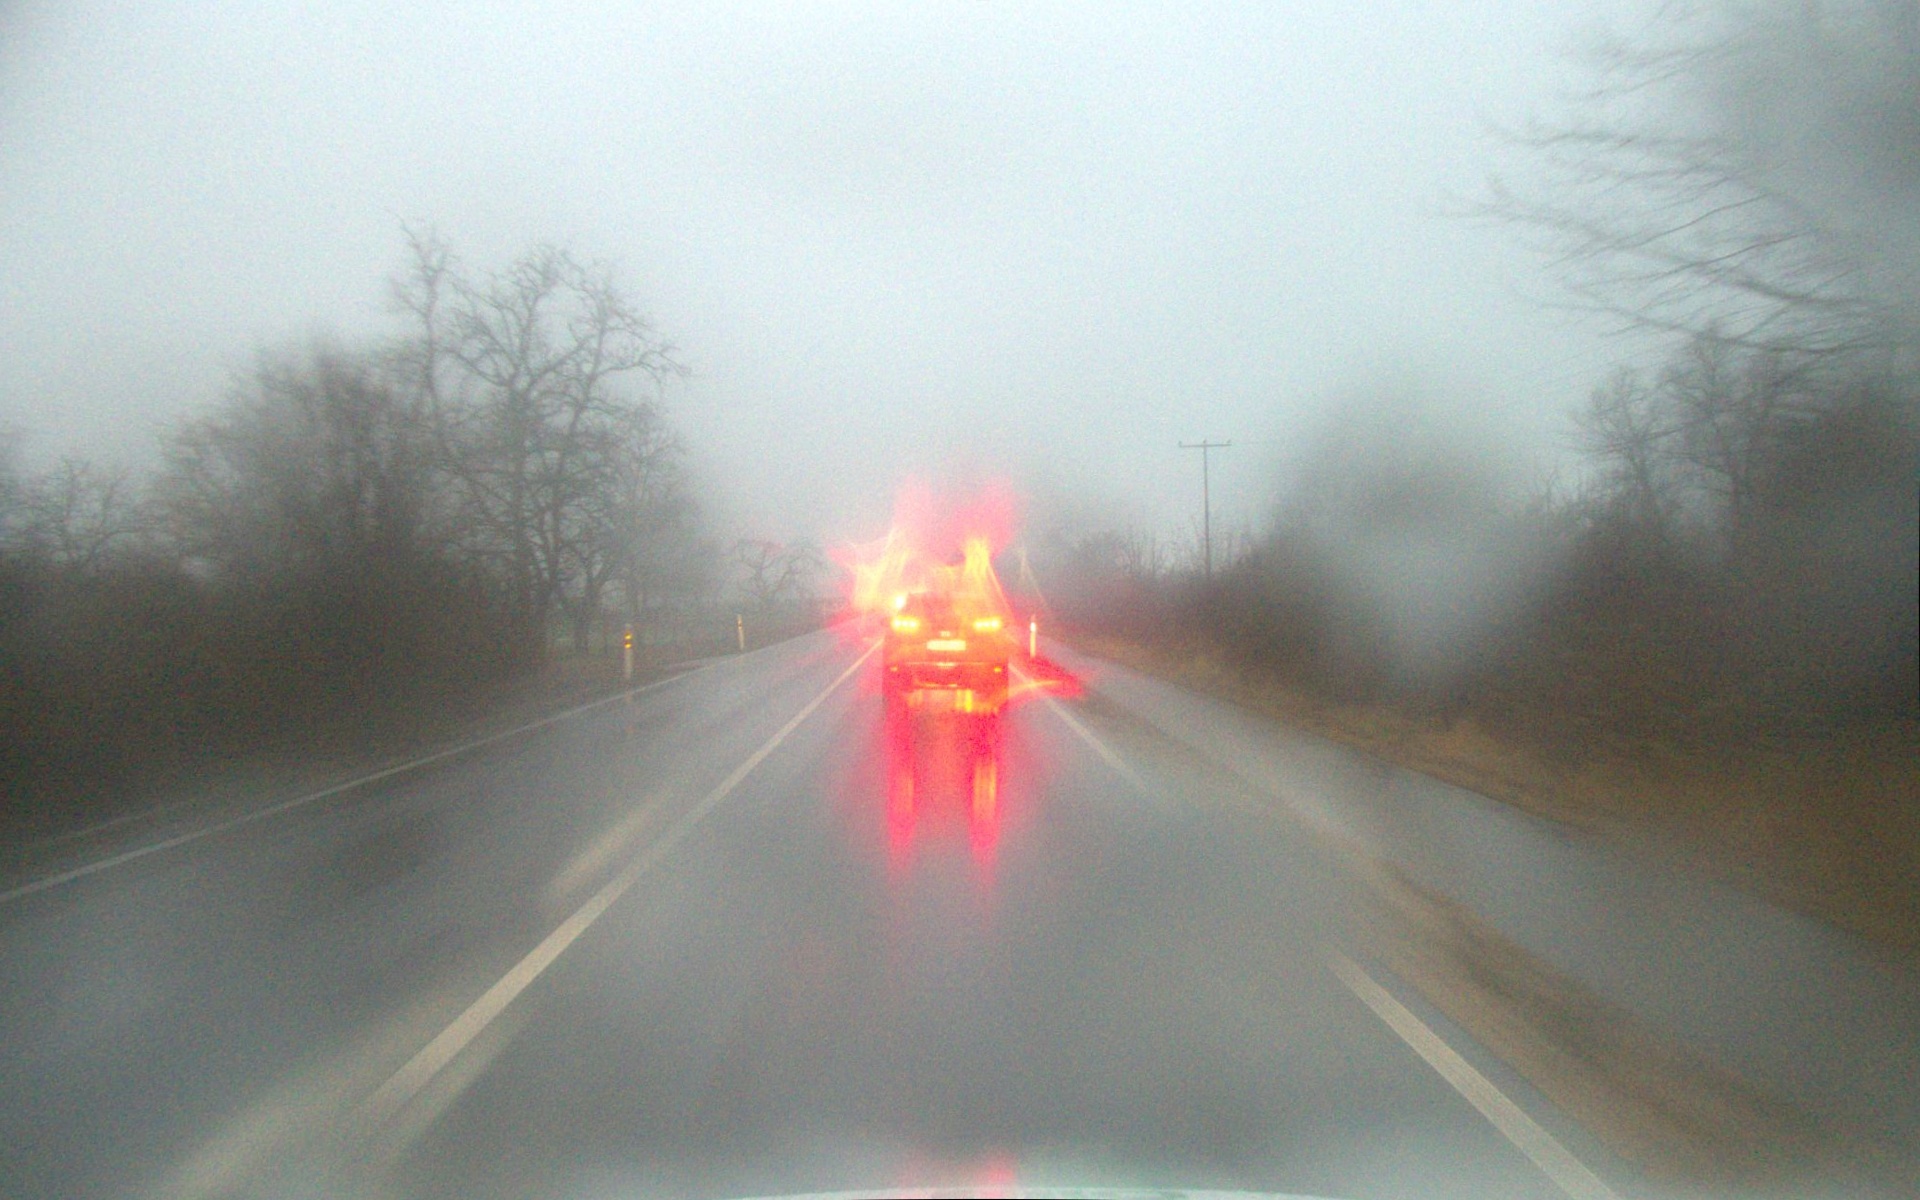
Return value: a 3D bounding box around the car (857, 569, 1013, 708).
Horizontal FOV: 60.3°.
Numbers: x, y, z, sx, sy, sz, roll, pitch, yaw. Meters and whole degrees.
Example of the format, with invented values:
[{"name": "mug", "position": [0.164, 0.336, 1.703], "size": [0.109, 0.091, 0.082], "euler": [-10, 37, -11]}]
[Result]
[{"name": "car", "position": [-0.376, 0.506, 24.715], "size": [2.077, 1.852, 4.979], "euler": [0, 0, -1]}]
